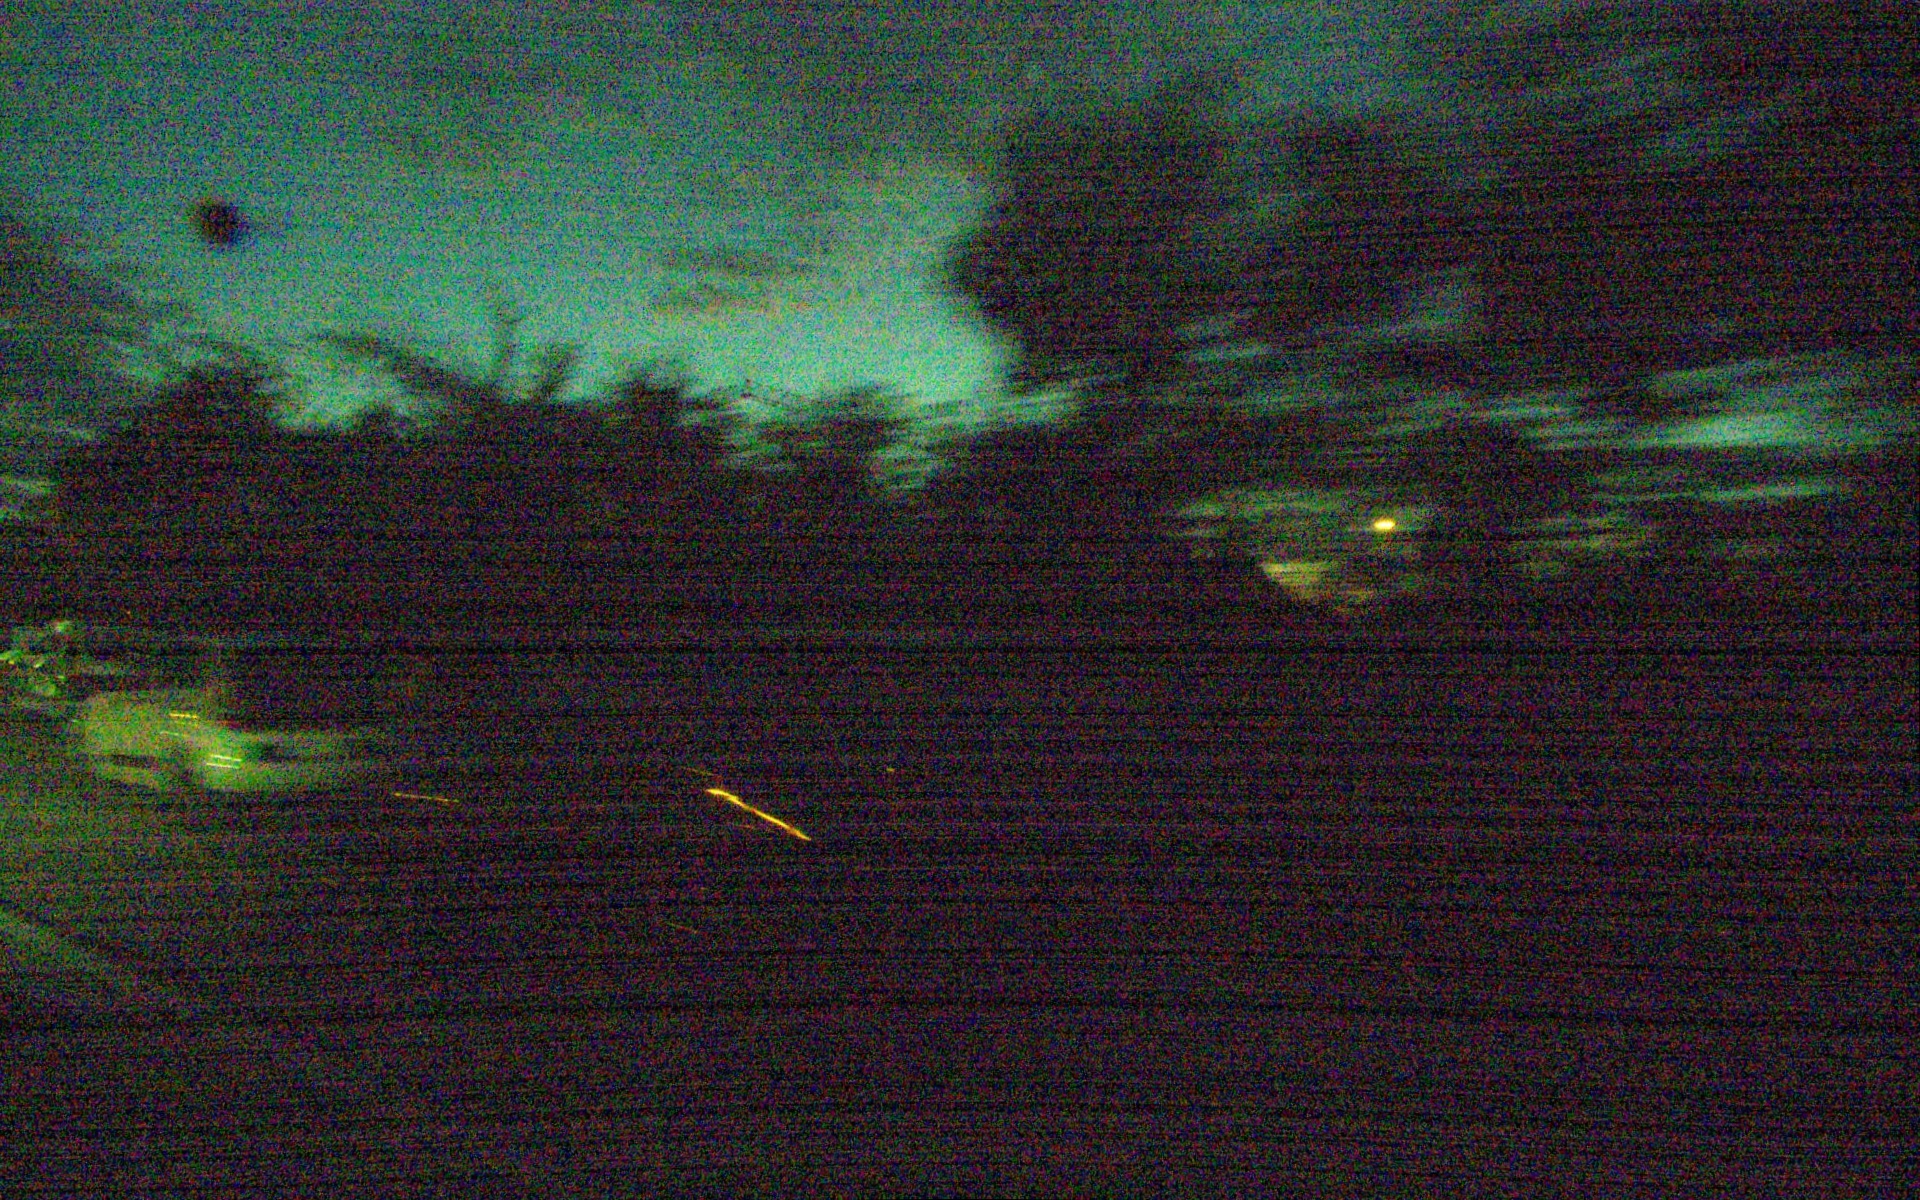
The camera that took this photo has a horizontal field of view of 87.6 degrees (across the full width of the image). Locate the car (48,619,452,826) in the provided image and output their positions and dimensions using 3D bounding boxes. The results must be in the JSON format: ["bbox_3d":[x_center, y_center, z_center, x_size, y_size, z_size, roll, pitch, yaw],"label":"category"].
[{"bbox_3d":[-6.851,1.021,9.566,3.947,1.571,1.930,-1,-4,35],"label":"car"}]

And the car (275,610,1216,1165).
[{"bbox_3d":[-1.167,0.886,4.852,4.264,1.571,1.991,0,-3,32],"label":"car"}]

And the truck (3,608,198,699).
[{"bbox_3d":[-24.749,1.523,28.697,7.641,2.312,2.372,-2,-3,35],"label":"truck"}]

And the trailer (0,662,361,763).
[{"bbox_3d":[-12.461,1.577,15.470,9.495,0.978,2.168,-1,-5,38],"label":"trailer"}]

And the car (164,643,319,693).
[{"bbox_3d":[-24.002,2.258,33.561,1.878,1.580,3.844,-2,-4,37],"label":"car"}]

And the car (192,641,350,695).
[{"bbox_3d":[-22.202,2.174,32.393,1.685,1.624,3.849,-1,-3,34],"label":"car"}]

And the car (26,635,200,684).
[{"bbox_3d":[-34.167,2.405,40.541,1.965,1.859,5.057,-2,-4,38],"label":"car"}]

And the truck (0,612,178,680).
[{"bbox_3d":[-36.442,1.940,41.759,2.439,2.632,5.518,-1,-3,35],"label":"truck"}]
